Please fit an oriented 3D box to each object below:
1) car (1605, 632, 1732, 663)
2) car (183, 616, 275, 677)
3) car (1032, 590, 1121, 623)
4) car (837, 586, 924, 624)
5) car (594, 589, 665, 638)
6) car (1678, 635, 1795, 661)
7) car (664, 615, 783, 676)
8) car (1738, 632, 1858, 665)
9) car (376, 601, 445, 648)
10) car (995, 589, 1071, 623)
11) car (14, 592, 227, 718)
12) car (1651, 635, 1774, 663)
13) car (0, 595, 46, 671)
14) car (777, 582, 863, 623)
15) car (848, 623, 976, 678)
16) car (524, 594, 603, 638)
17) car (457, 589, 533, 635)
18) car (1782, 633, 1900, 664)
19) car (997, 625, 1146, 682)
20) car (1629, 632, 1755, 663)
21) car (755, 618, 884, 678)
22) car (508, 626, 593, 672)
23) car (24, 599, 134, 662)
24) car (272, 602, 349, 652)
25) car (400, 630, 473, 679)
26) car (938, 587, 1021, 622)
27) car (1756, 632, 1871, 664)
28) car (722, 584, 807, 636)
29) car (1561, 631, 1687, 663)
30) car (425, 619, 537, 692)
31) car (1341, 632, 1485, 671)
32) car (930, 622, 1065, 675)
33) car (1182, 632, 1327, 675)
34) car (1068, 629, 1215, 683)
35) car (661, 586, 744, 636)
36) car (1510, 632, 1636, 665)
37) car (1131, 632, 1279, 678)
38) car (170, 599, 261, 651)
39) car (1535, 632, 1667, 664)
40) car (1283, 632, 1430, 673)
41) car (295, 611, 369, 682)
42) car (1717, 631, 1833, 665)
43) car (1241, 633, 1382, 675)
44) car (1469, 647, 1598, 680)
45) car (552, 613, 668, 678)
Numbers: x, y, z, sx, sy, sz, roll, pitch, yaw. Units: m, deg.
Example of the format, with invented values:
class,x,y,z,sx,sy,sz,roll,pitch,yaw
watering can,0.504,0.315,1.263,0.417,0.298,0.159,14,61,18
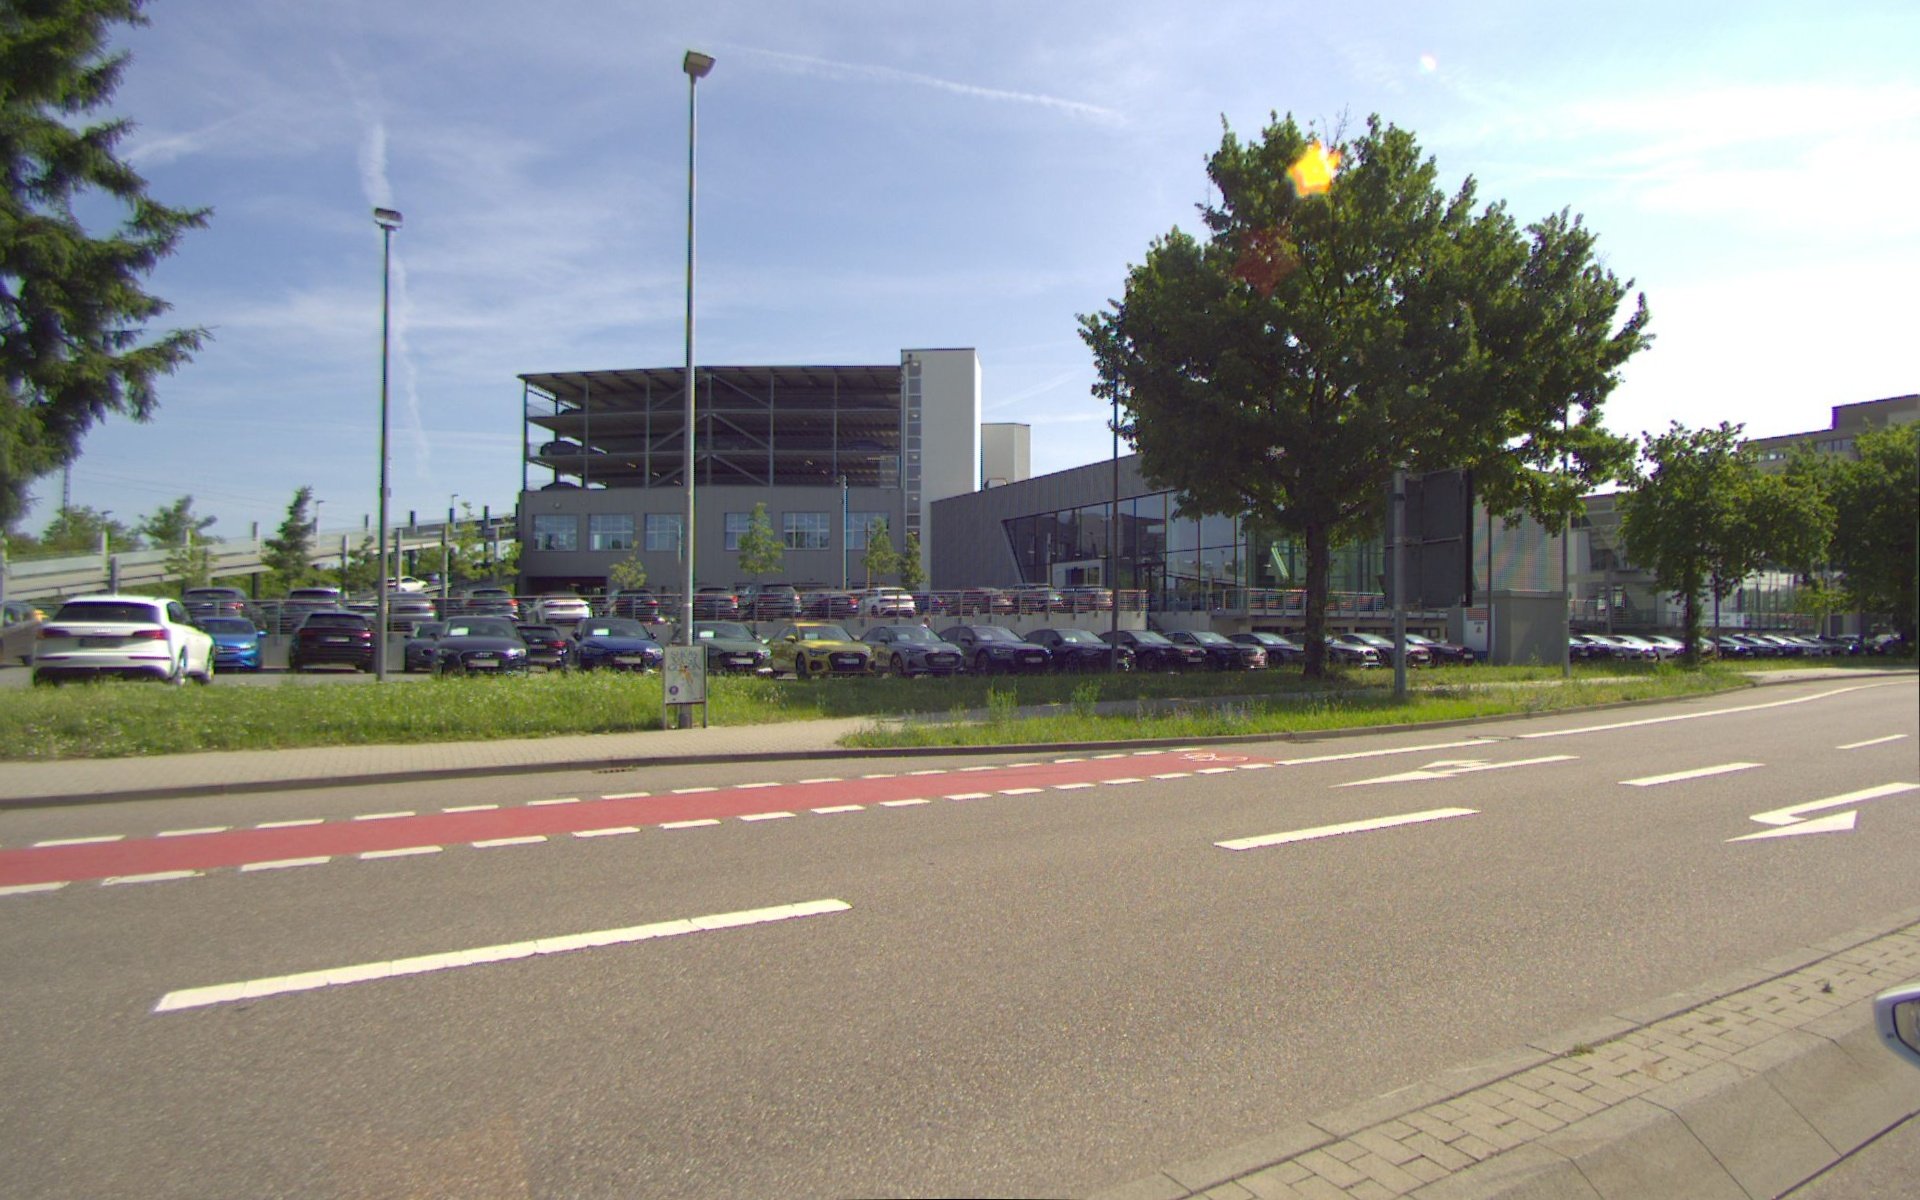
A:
class,x,y,z,sx,sy,sz,roll,pitch,yaw
car,31.439,2.145,44.677,1.933,1.205,4.154,1,-5,-31
car,-19.192,1.170,26.502,1.625,1.420,3.710,1,0,-31
car,5.540,0.310,48.400,1.963,1.516,4.498,1,0,-30
car,-3.505,0.263,43.331,1.957,1.504,4.477,1,-2,-31
car,-12.450,0.544,37.682,1.646,1.728,4.247,1,-2,-31
car,36.990,2.308,47.940,1.678,1.047,4.089,1,-5,-31
car,-5.594,1.085,23.457,1.644,1.302,3.724,1,-3,-31
car,42.673,2.499,51.272,1.976,1.460,4.232,1,-5,-29
car,-18.691,0.789,34.088,1.869,1.437,4.476,1,0,-31
car,3.367,0.269,46.950,1.648,1.516,3.968,1,0,-30
car,-14.503,0.842,17.663,1.975,1.900,4.444,1,0,-28
car,34.976,2.295,46.771,1.933,1.091,4.154,1,-5,-31
car,-23.844,0.755,24.067,1.976,1.780,3.970,1,0,-29
car,-5.879,0.162,41.738,1.957,1.571,4.477,1,-2,-31
car,-1.314,1.319,25.992,1.844,1.302,3.576,1,-3,-31
car,-14.597,0.611,36.837,1.957,1.504,4.477,1,-2,-31
car,-16.528,0.478,35.564,1.957,1.504,4.477,1,-2,-31
car,47.180,2.623,53.905,2.027,1.460,4.287,1,-5,-30
car,3.094,1.483,28.864,1.957,1.495,4.477,1,-2,-31
car,33.213,2.171,45.690,1.933,1.205,4.154,1,-5,-31
car,-3.560,1.209,24.875,1.819,1.358,3.868,1,-3,-31
car,-12.470,1.496,30.492,1.844,1.302,3.576,1,-3,-31
car,-26.273,0.862,30.082,1.980,1.756,3.961,1,0,-35
car,-21.193,0.831,32.862,1.978,1.496,4.178,1,0,-32
car,-15.136,1.528,28.968,1.625,1.213,3.752,1,0,-31
car,0.844,0.212,45.703,2.027,1.516,3.968,1,0,-30
car,44.686,2.529,52.669,1.976,1.460,4.124,1,-5,-29
car,-7.925,0.456,40.429,1.957,1.988,4.477,1,-2,-31
car,28.845,2.070,43.761,1.933,1.205,4.154,1,-5,-31
car,-10.014,1.084,20.858,1.725,1.302,3.771,1,0,-31
car,16.324,1.821,36.427,1.898,1.307,4.477,1,-2,-31
car,0.949,1.324,27.191,1.963,1.302,3.662,1,-3,-31
car,9.541,1.702,32.850,1.898,1.307,4.477,1,-2,-31
car,5.357,1.627,30.181,1.898,1.495,4.477,1,-2,-31
car,-10.097,0.486,39.146,1.957,1.839,4.477,1,-2,-31
car,24.905,2.004,40.940,1.876,1.171,3.968,1,-5,-31
car,7.534,1.646,31.261,1.898,1.307,4.477,1,-2,-31
car,-23.221,0.735,31.470,1.978,1.496,4.178,1,0,-32
car,26.886,2.053,42.263,2.063,1.171,4.154,1,-5,-31
car,13.684,1.779,34.936,1.981,1.307,4.477,1,-2,-31
car,-17.247,1.219,27.682,1.625,1.745,3.752,1,0,-31
car,40.315,2.401,49.759,1.976,1.460,3.972,1,-5,-29
car,11.694,1.757,33.706,1.672,1.307,4.477,1,-2,-31
car,22.501,2.520,39.528,1.876,1.171,3.968,1,-5,-31
car,-7.779,1.017,22.150,1.725,1.302,3.576,1,-3,-31
